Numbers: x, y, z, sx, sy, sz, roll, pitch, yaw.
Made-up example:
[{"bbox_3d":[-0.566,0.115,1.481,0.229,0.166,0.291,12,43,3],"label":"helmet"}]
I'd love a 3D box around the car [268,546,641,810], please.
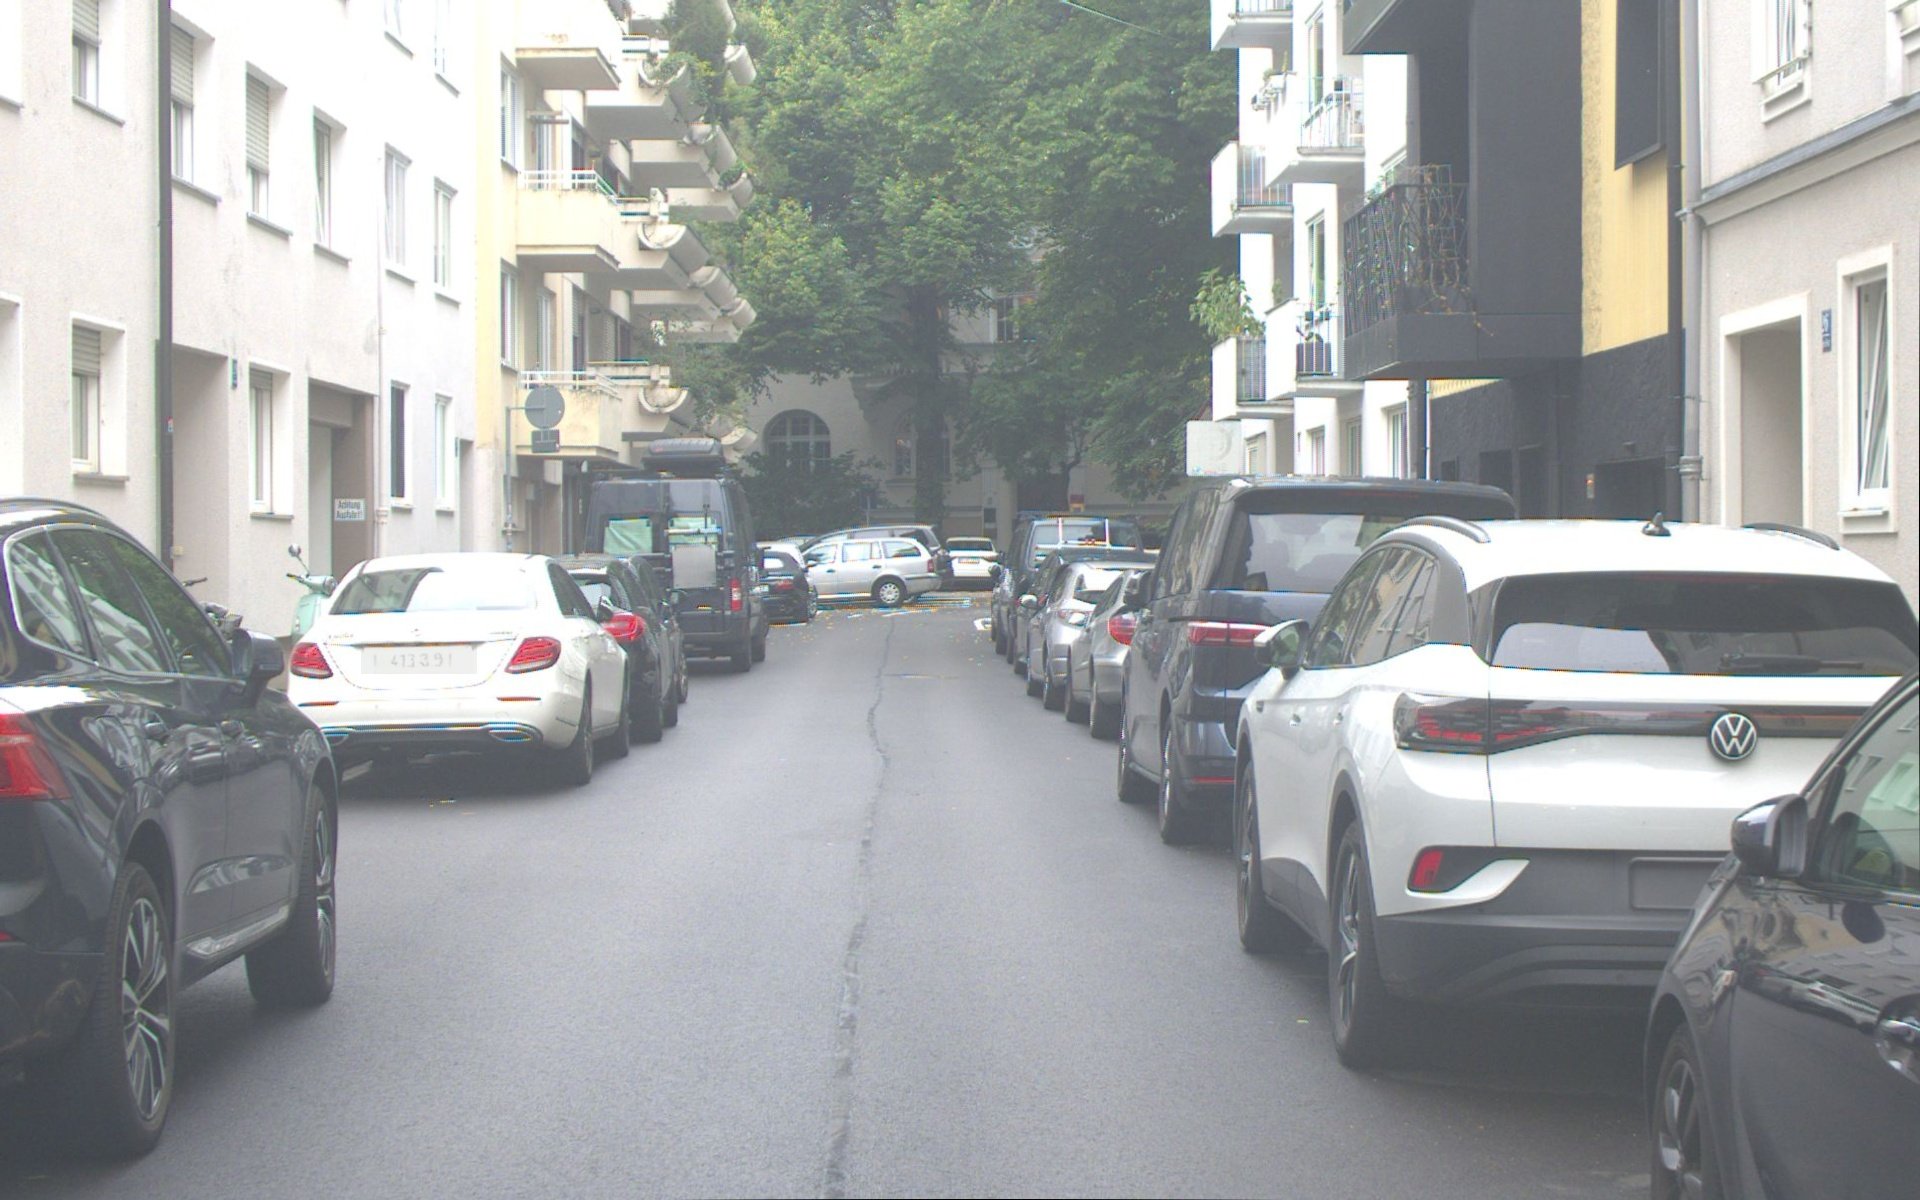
[{"bbox_3d":[-3.230,0.431,22.806,1.777,1.482,4.519,-3,1,0],"label":"car"}]

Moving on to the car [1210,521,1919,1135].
[{"bbox_3d":[1.902,0.563,11.275,1.682,1.562,4.416,2,1,-1],"label":"car"}]

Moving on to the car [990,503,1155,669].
[{"bbox_3d":[1.434,-0.214,45.422,1.829,1.992,4.416,3,1,-2],"label":"car"}]

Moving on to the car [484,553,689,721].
[{"bbox_3d":[-3.542,0.317,33.051,1.642,1.448,3.162,-3,1,-1],"label":"car"}]

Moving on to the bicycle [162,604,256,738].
[{"bbox_3d":[-5.882,0.541,26.991,0.396,0.978,1.656,1,1,-1],"label":"bicycle"}]

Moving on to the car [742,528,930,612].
[{"bbox_3d":[-2.637,-0.655,73.077,3.885,1.579,1.648,-3,1,-2],"label":"car"}]

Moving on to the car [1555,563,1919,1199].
[{"bbox_3d":[2.199,0.722,5.753,1.664,1.464,3.819,2,1,0],"label":"car"}]

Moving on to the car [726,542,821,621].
[{"bbox_3d":[-3.515,-0.372,65.170,1.642,1.379,3.483,-3,1,-1],"label":"car"}]

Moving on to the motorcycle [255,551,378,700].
[{"bbox_3d":[-6.079,0.217,32.591,0.680,1.345,2.486,1,1,0],"label":"motorcycle"}]

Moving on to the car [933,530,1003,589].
[{"bbox_3d":[0.189,-1.049,88.062,1.642,1.379,3.746,-3,1,-1],"label":"car"}]

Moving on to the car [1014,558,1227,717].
[{"bbox_3d":[1.602,0.341,35.800,1.829,1.449,4.416,3,1,-2],"label":"car"}]

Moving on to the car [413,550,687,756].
[{"bbox_3d":[-3.245,0.371,27.911,1.776,1.448,4.046,-3,1,-1],"label":"car"}]

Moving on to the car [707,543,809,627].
[{"bbox_3d":[-3.563,-0.291,61.188,1.642,1.379,3.483,-3,1,-1],"label":"car"}]

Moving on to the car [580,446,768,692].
[{"bbox_3d":[-3.475,-0.403,42.528,1.936,2.792,4.533,-3,1,-1],"label":"car"}]

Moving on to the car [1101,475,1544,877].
[{"bbox_3d":[1.850,0.325,18.876,1.829,1.903,4.416,2,1,-1],"label":"car"}]

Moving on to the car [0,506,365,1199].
[{"bbox_3d":[-2.912,0.585,9.687,1.776,1.623,4.415,-1,1,-1],"label":"car"}]

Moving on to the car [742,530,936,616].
[{"bbox_3d":[-2.495,-0.571,71.108,3.885,1.579,1.648,-3,1,-2],"label":"car"}]

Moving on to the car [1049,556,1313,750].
[{"bbox_3d":[1.836,0.401,29.907,1.829,1.449,4.416,3,1,-2],"label":"car"}]
